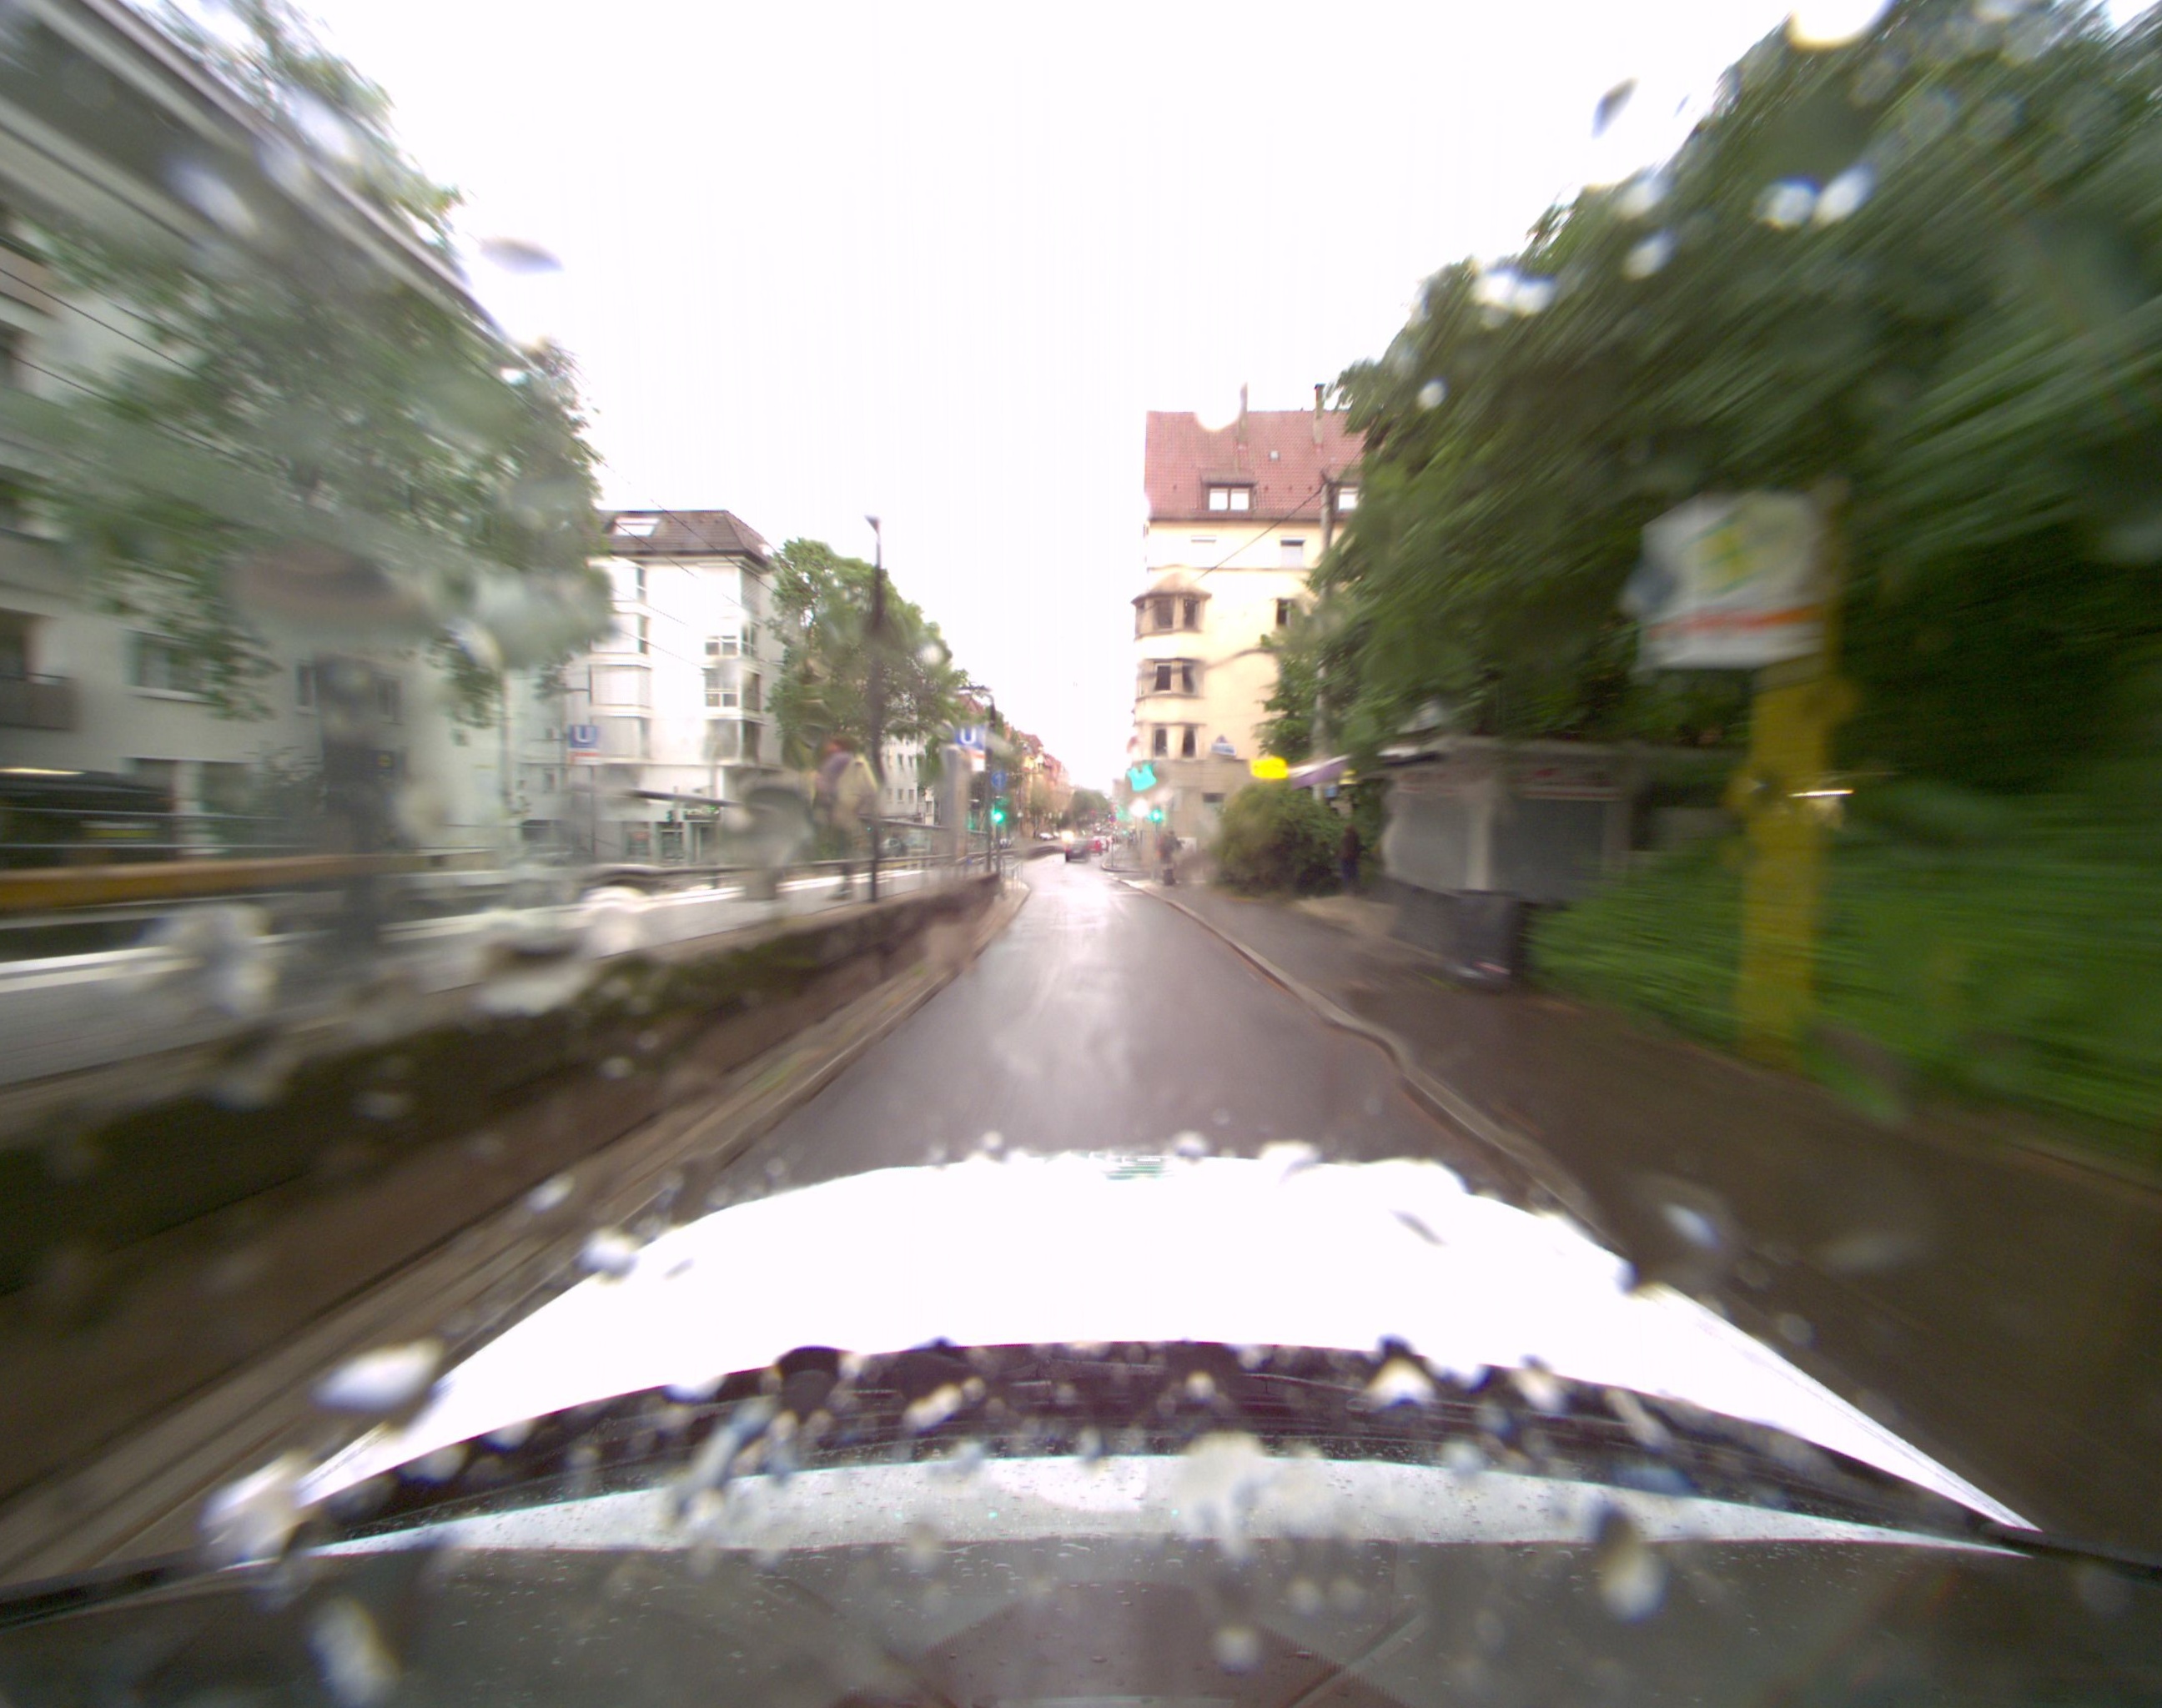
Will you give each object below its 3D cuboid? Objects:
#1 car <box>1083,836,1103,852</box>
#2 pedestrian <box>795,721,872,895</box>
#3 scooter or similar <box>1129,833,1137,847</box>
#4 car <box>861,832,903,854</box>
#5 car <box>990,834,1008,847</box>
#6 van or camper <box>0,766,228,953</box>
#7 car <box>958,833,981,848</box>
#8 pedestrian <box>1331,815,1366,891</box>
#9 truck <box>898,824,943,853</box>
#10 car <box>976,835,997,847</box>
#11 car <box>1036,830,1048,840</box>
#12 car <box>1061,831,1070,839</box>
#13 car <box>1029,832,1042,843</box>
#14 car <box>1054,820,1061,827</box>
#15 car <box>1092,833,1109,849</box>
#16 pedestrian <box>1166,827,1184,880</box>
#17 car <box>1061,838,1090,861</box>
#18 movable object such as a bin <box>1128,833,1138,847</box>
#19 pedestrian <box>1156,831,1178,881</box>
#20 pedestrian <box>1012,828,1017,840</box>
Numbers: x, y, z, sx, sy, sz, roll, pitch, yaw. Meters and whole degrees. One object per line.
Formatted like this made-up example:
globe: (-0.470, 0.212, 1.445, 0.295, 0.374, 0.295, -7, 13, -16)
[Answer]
car: (1.157, -0.944, 76.781, 1.845, 1.473, 4.001, 0, 1, 1)
pedestrian: (-2.668, -0.485, 8.840, 0.587, 1.807, 0.661, 1, 0, 1)
scooter or similar: (6.232, -1.675, 98.269, 0.916, 1.604, 0.862, -1, 1, -2)
car: (-14.782, -0.847, 60.734, 1.718, 1.515, 4.501, 0, 2, 4)
car: (-11.312, -1.852, 112.120, 1.765, 1.619, 4.259, -2, 1, 3)
van or camper: (-17.224, 0.074, 13.048, 1.988, 2.805, 4.860, -1, 1, -2)
car: (-12.620, -1.545, 92.018, 1.766, 1.546, 4.258, -2, 1, 2)
pedestrian: (6.237, -0.035, 19.039, 0.600, 1.745, 0.615, 1, 1, 1)
truck: (-13.894, -1.375, 70.868, 2.041, 2.392, 6.332, 0, 1, 6)
car: (-11.978, -1.642, 103.448, 1.765, 1.488, 4.259, -2, 1, 3)
car: (-7.992, -3.912, 168.263, 1.986, 2.013, 4.348, -2, 0, 2)
car: (-3.837, -4.773, 202.444, 1.986, 2.013, 4.349, -1, 1, 1)
car: (-8.860, -3.236, 158.258, 1.986, 2.013, 4.348, -2, 0, 2)
car: (-7.268, -9.387, 251.129, 1.986, 2.013, 4.002, -1, 1, 1)
car: (2.354, -1.541, 96.476, 1.941, 1.792, 4.145, 0, 1, 1)
pedestrian: (3.291, -0.027, 28.469, 0.552, 1.813, 0.651, 0, 1, 0)
car: (-0.339, -0.361, 55.231, 1.845, 1.473, 4.002, -1, 1, 1)
movable object such as a bin: (6.367, -1.720, 99.775, 1.164, 1.655, 1.309, -2, 1, -1)
pedestrian: (2.932, 0.072, 27.849, 0.692, 1.695, 0.556, 0, 1, 1)
pedestrian: (-11.877, -3.608, 145.284, 0.868, 2.013, 0.704, -2, 0, 1)
